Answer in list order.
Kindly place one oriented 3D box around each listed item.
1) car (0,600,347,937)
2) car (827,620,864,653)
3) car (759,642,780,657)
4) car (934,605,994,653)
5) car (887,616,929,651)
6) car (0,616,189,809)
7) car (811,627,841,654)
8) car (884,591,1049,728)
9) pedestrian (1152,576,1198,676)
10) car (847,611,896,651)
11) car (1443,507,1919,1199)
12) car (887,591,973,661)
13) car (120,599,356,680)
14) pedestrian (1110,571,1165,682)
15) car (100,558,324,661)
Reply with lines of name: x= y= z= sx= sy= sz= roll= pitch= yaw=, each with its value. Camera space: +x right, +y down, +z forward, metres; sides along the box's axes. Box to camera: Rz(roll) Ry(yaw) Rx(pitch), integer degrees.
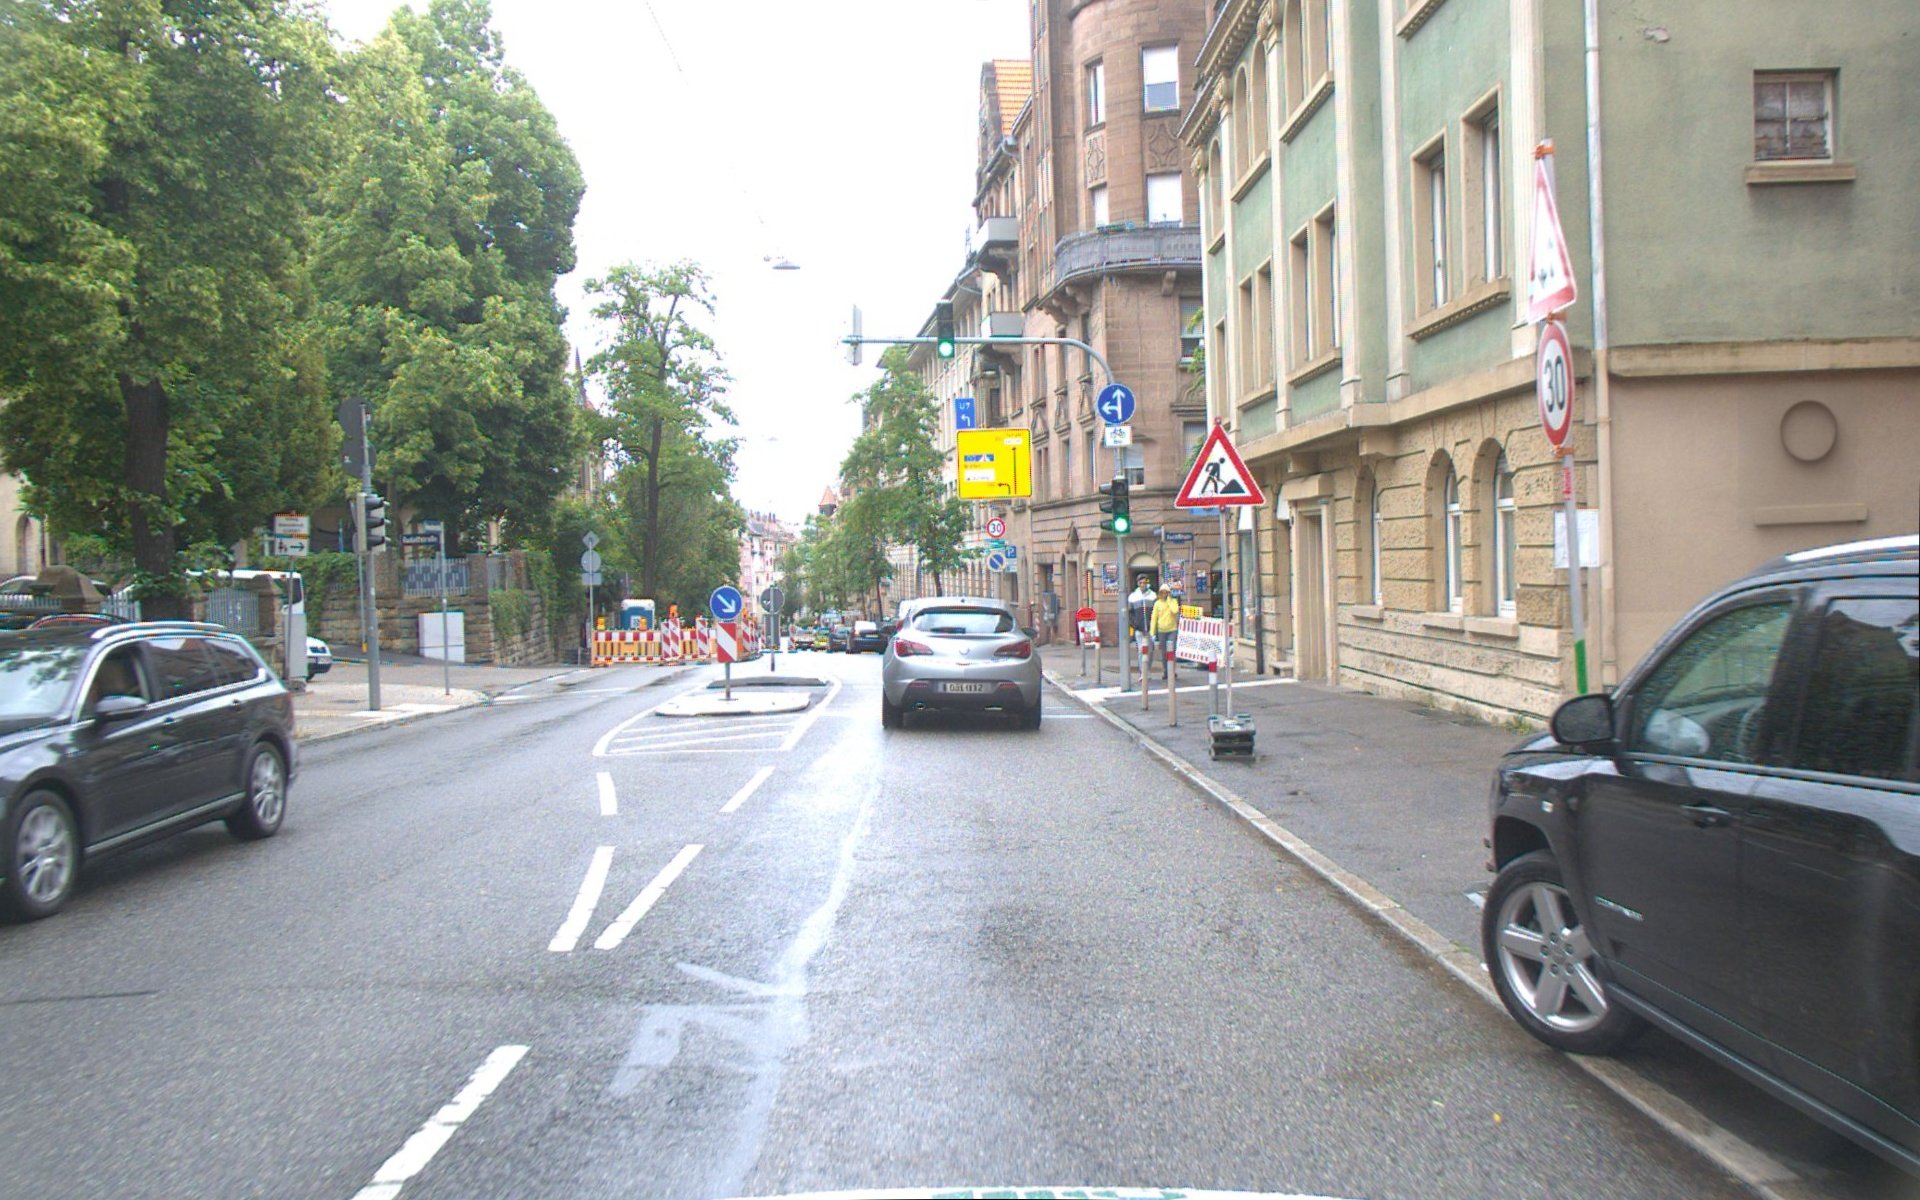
car: x=-5.383 y=0.836 z=9.619 sx=1.778 sy=1.544 sz=4.549 roll=-3 pitch=1 yaw=1
car: x=-5.921 y=1.912 z=85.412 sx=1.626 sy=1.570 sz=3.658 roll=-3 pitch=-1 yaw=-8
car: x=-20.506 y=5.311 z=177.996 sx=1.957 sy=1.527 sz=3.990 roll=-1 pitch=-2 yaw=-10
car: x=0.112 y=1.049 z=59.019 sx=1.626 sy=1.570 sz=3.658 roll=-3 pitch=-1 yaw=-8
car: x=-2.572 y=1.654 z=80.618 sx=1.608 sy=1.546 sz=3.177 roll=-4 pitch=-1 yaw=-8
car: x=-8.772 y=0.945 z=14.814 sx=1.706 sy=1.586 sz=4.301 roll=0 pitch=-1 yaw=0
car: x=-8.561 y=2.608 z=105.440 sx=1.626 sy=1.570 sz=3.658 roll=-3 pitch=-1 yaw=-8
car: x=0.081 y=0.678 z=19.755 sx=1.774 sy=1.475 sz=3.868 roll=0 pitch=-1 yaw=0
pedestrian: x=3.586 y=0.425 z=27.585 sx=0.584 sy=1.612 sz=0.666 roll=-3 pitch=0 yaw=15
car: x=-3.792 y=1.334 z=70.185 sx=1.626 sy=1.570 sz=3.657 roll=-3 pitch=-1 yaw=-9
car: x=2.876 y=0.589 z=4.183 sx=1.839 sy=1.658 sz=4.697 roll=-4 pitch=-1 yaw=0
car: x=-0.753 y=0.608 z=38.483 sx=1.737 sy=1.531 sz=3.864 roll=0 pitch=-1 yaw=-5
car: x=-14.243 y=0.799 z=32.753 sx=3.781 sy=1.434 sz=1.827 roll=2 pitch=-3 yaw=4
pedestrian: x=2.985 y=0.443 z=27.808 sx=0.703 sy=1.805 sz=0.666 roll=-3 pitch=0 yaw=17
car: x=-18.079 y=0.196 z=40.053 sx=4.565 sy=2.083 sz=2.027 roll=5 pitch=1 yaw=14
